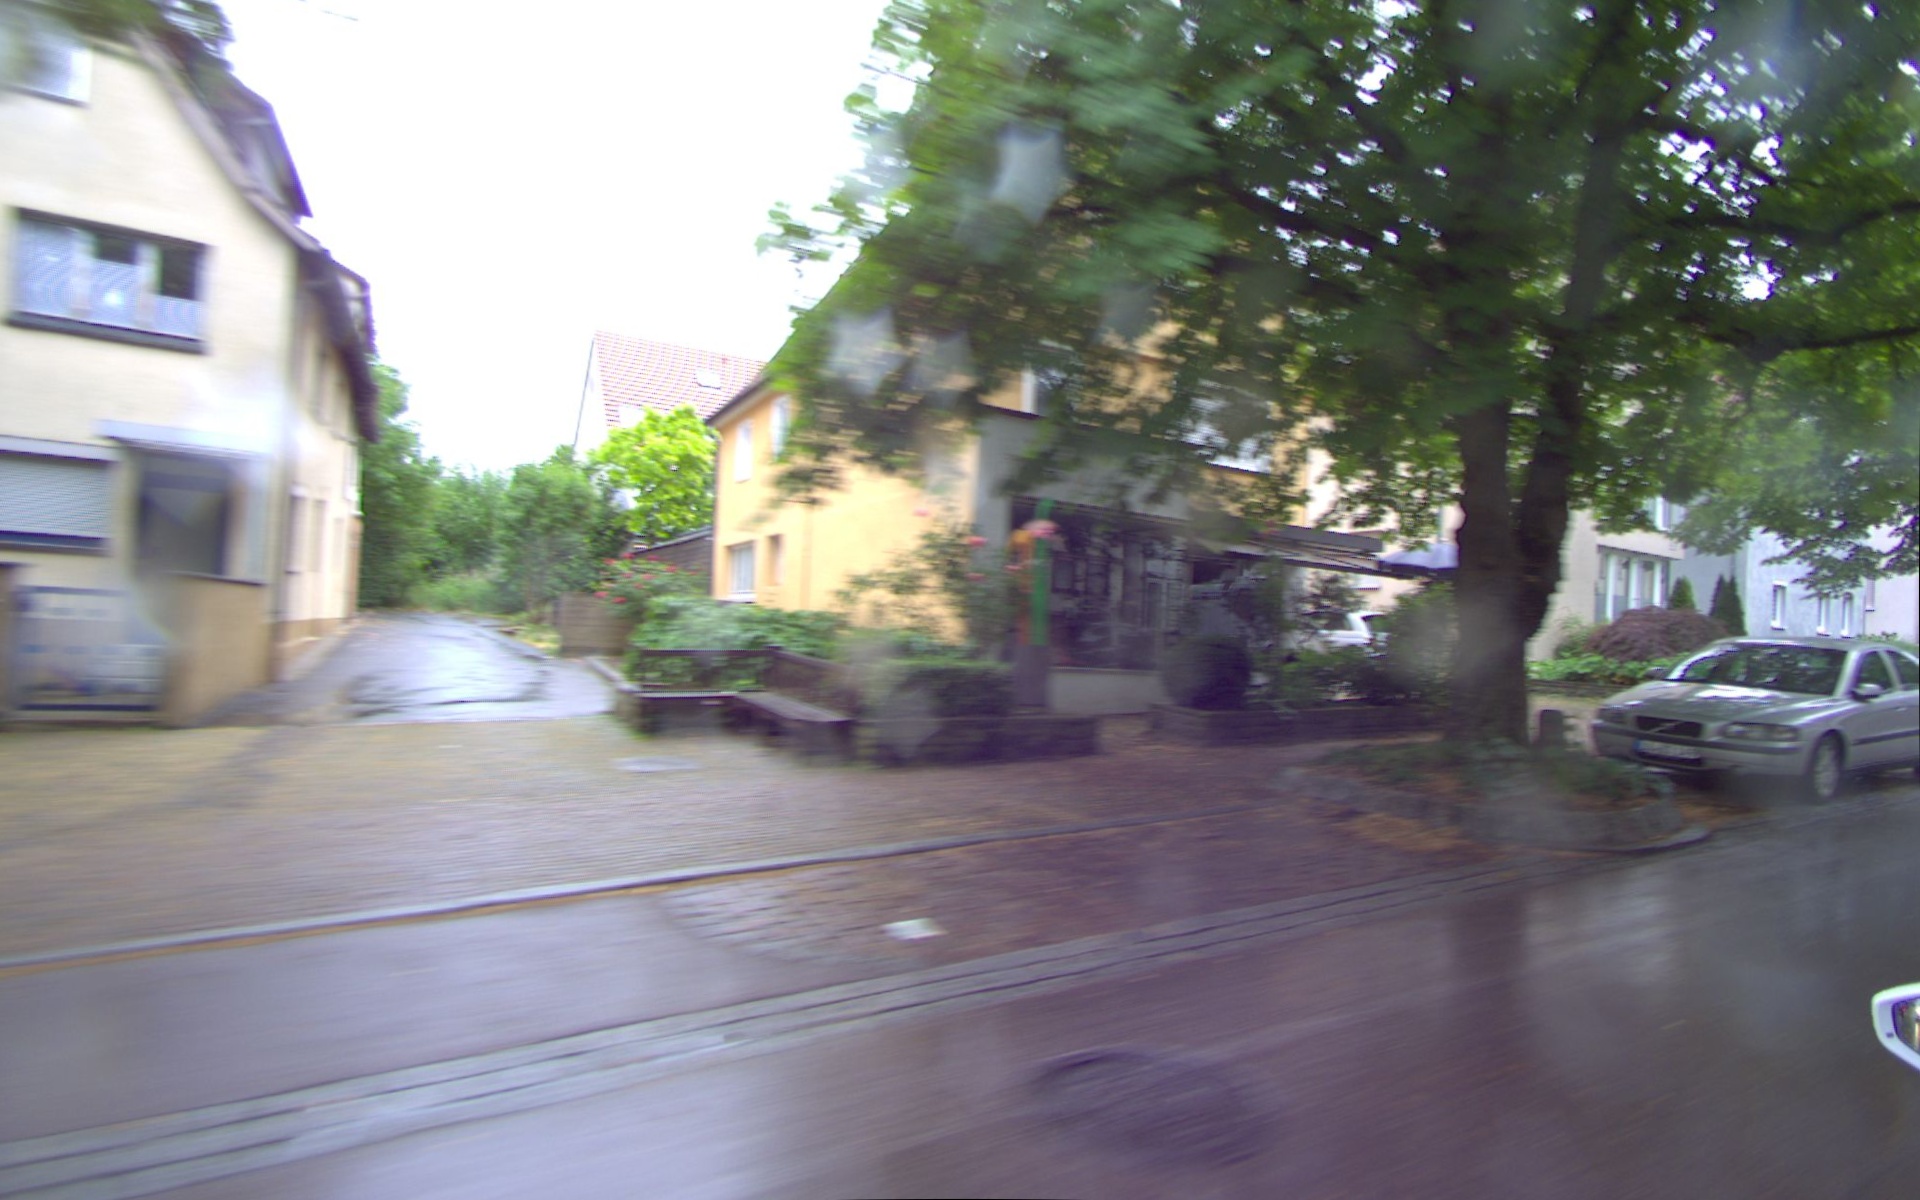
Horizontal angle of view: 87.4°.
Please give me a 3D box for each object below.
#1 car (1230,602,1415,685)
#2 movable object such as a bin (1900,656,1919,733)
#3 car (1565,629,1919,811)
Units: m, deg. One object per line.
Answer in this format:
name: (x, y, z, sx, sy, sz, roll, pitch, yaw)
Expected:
car: (7.829, 0.891, 21.989, 1.618, 1.497, 3.552, 1, 2, -30)
movable object such as a bin: (13.888, 1.353, 14.276, 0.538, 1.077, 0.593, 1, 0, -26)
car: (8.308, 1.059, 10.130, 4.490, 1.407, 1.764, 1, 1, -29)
